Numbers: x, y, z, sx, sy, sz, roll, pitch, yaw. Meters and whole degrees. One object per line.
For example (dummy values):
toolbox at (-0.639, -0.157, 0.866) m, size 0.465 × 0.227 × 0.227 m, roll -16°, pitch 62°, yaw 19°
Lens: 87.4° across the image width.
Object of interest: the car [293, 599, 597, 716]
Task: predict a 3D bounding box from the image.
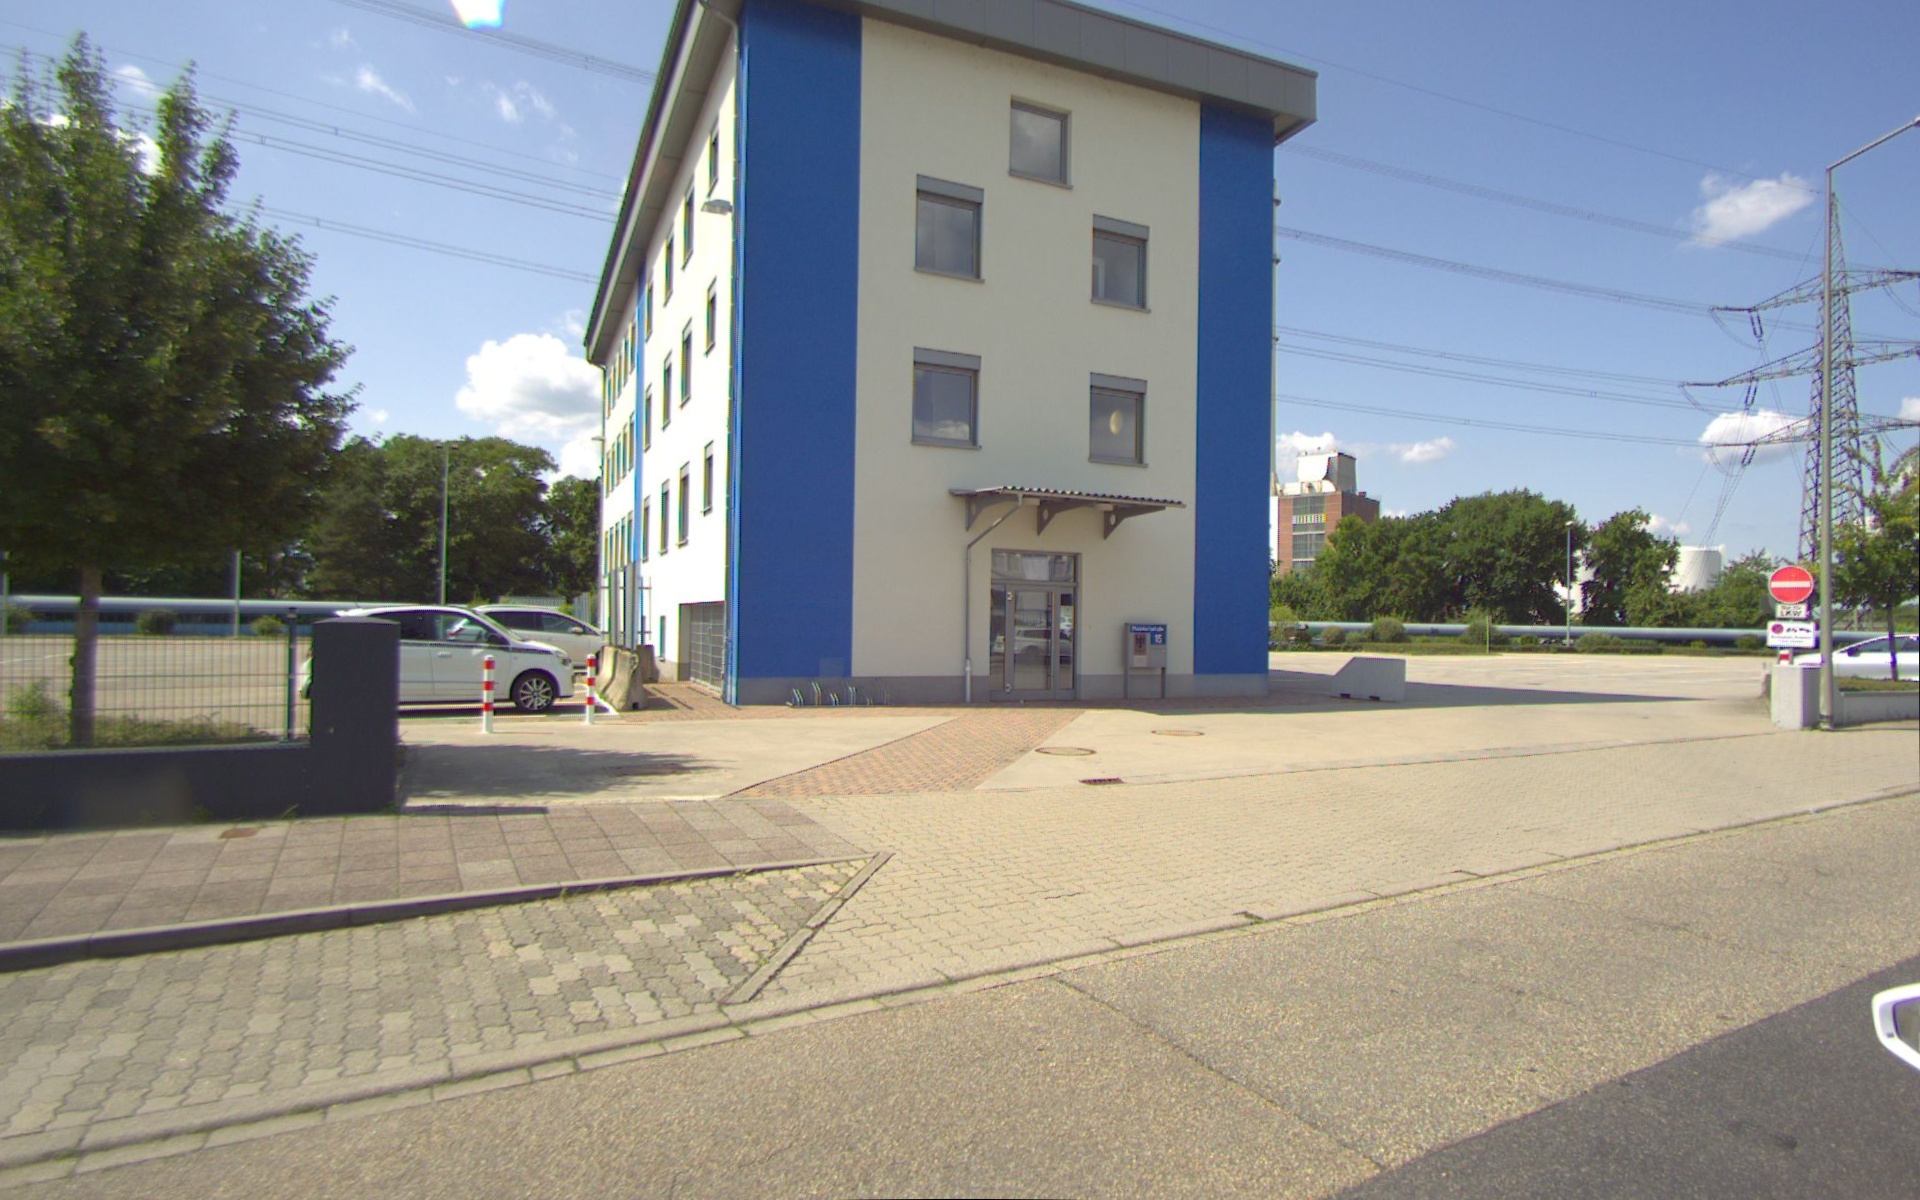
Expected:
car at (-7.430, 0.824, 14.783) m, size 3.710 × 1.527 × 1.866 m, roll 2°, pitch -2°, yaw -27°

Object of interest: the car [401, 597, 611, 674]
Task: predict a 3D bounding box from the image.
car at (-10.786, 0.878, 24.096) m, size 4.385 × 1.676 × 1.819 m, roll 2°, pitch -2°, yaw -26°

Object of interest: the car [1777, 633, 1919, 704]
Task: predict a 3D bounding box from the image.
car at (22.499, 1.598, 23.629) m, size 1.979 × 1.623 × 4.728 m, roll 2°, pitch -3°, yaw -33°

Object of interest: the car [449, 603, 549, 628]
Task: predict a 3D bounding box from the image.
car at (-20.362, 0.696, 44.525) m, size 3.843 × 0.981 × 1.764 m, roll 2°, pitch -2°, yaw -20°
